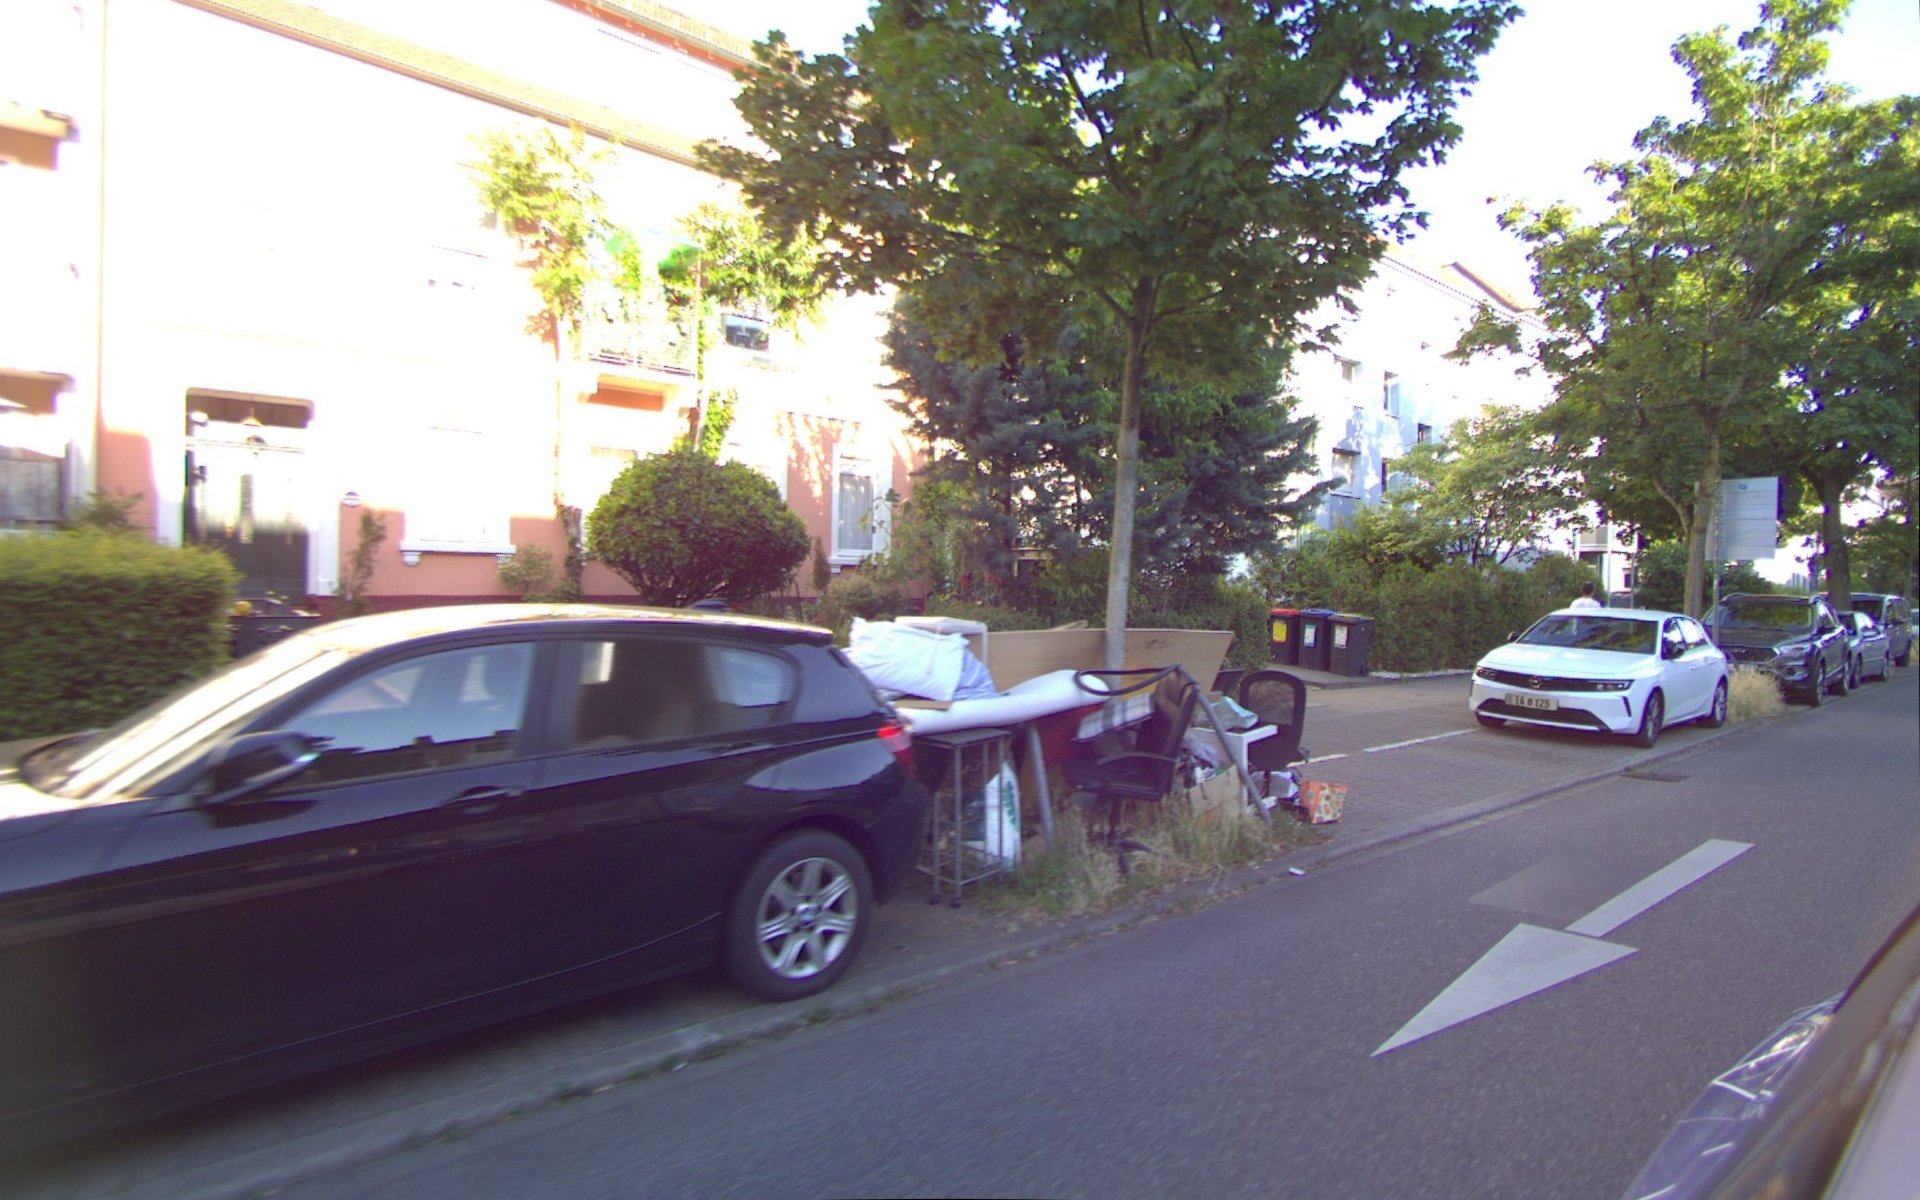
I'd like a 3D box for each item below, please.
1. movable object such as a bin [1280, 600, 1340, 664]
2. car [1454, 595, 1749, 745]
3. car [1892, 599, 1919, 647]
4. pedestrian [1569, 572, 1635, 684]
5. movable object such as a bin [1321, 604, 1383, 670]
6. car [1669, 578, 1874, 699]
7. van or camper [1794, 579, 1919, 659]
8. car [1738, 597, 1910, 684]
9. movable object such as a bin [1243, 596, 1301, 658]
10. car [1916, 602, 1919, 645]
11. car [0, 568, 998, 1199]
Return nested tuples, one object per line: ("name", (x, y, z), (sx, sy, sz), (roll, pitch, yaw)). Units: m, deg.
("movable object such as a bin", (6.353, 0.573, 18.362), (0.672, 1.070, 0.727), (1, 4, -41))
("car", (7.735, 0.698, 12.042), (4.257, 1.419, 1.765), (0, 2, -41))
("car", (30.928, 0.750, 32.009), (4.230, 1.461, 1.737), (1, 1, -42))
("pedestrian", (10.757, 0.460, 16.956), (0.751, 1.806, 0.669), (-2, -1, -41))
("movable object such as a bin", (6.875, 0.642, 17.761), (0.672, 1.070, 0.727), (1, 4, -41))
("car", (13.748, 0.556, 17.049), (4.626, 1.702, 1.920), (0, 2, -42))
("van or camper", (23.392, 0.497, 26.101), (5.165, 1.866, 1.998), (2, 0, -40))
("car", (17.378, 0.741, 20.272), (4.743, 1.523, 1.789), (0, 1, -39))
("movable object such as a bin", (5.835, 0.496, 18.938), (0.672, 1.070, 0.727), (1, 4, -41))
("car", (34.886, 0.866, 35.390), (4.264, 1.461, 1.737), (1, 1, -42))
("car", (-2.090, 0.656, 3.561), (4.405, 1.466, 1.774), (0, 2, -41))
